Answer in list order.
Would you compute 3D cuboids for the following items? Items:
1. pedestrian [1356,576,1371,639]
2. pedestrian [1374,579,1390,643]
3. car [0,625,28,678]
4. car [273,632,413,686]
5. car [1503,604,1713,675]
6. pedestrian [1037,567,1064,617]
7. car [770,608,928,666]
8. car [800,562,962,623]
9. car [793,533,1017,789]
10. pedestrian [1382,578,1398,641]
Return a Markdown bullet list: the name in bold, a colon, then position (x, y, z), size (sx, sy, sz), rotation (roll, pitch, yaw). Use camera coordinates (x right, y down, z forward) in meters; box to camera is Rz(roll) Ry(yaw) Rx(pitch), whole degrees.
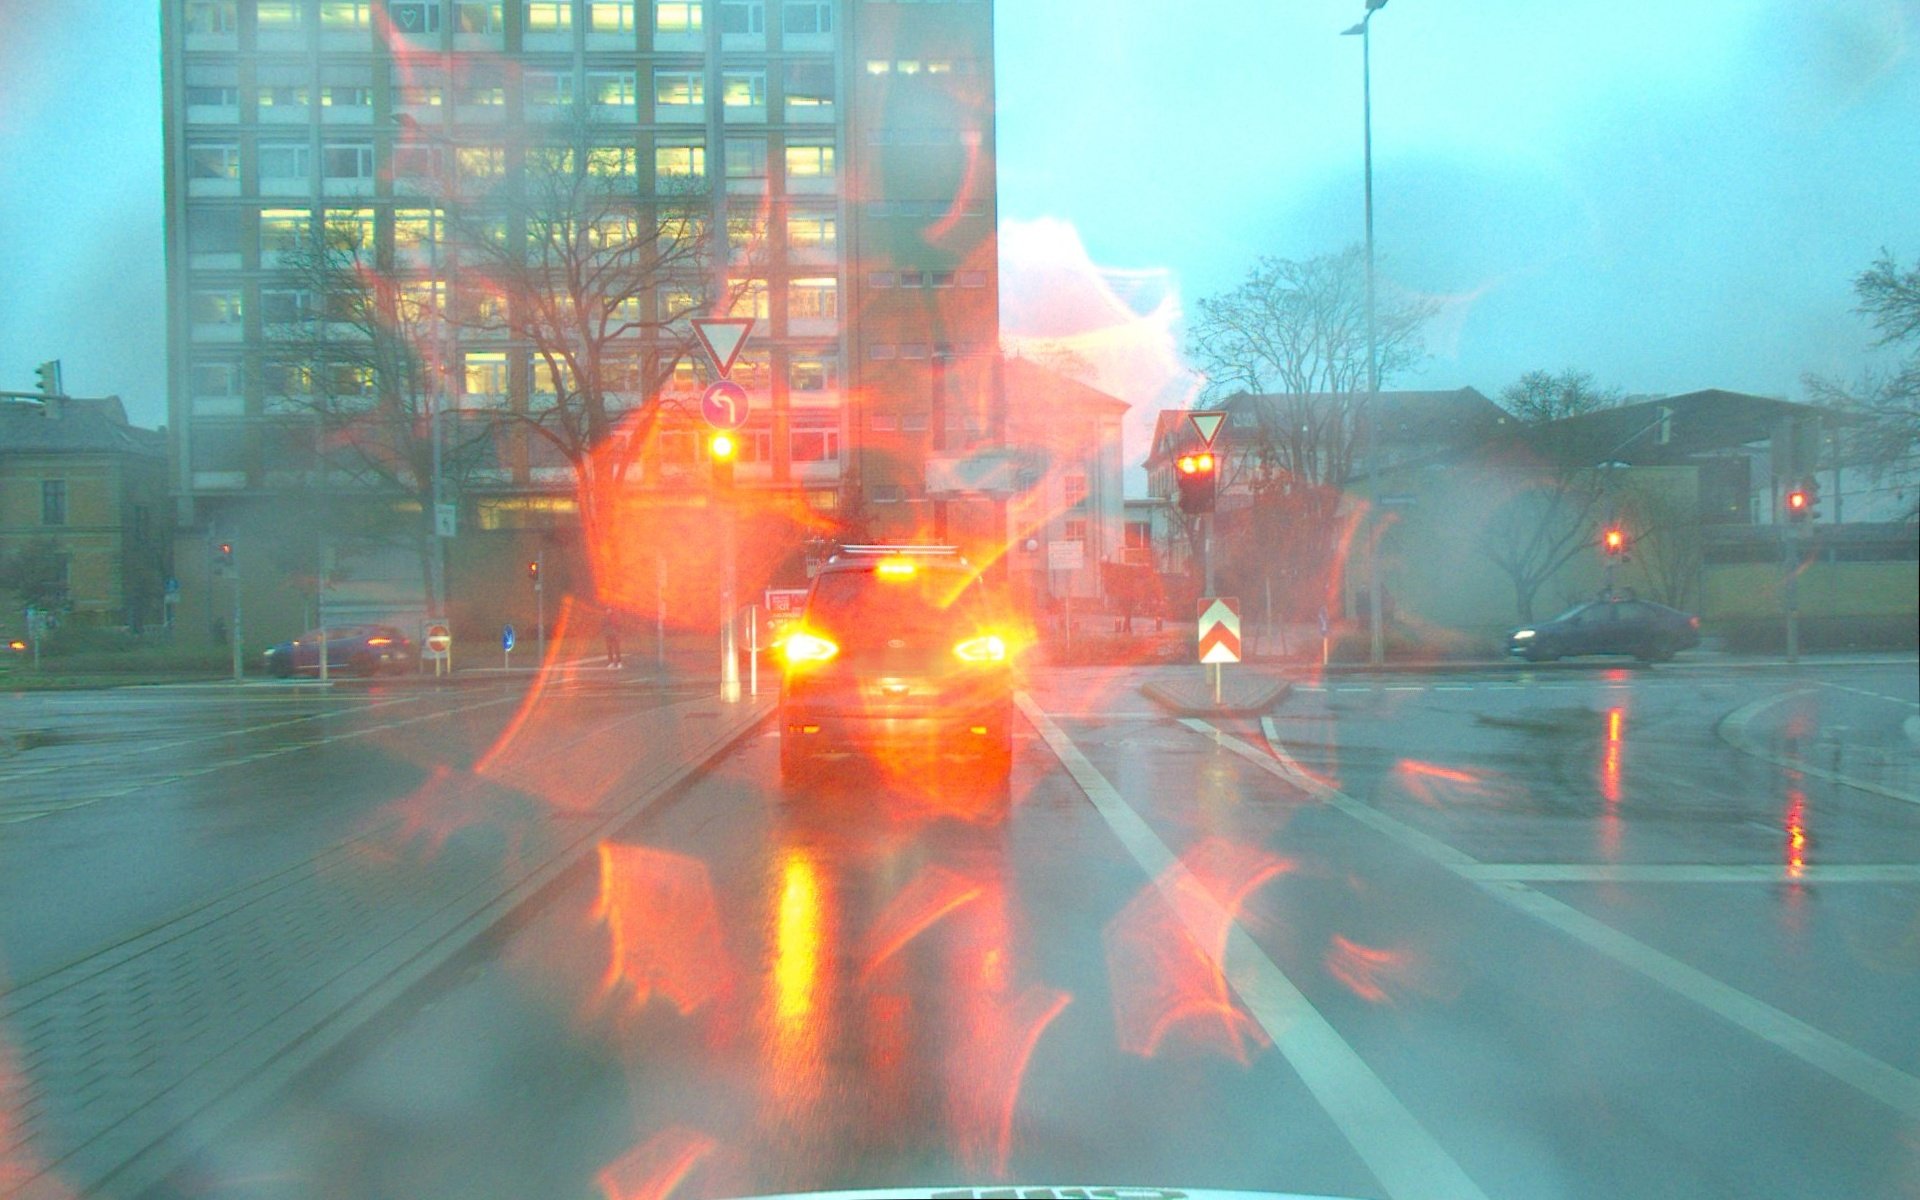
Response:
- **pedestrian**: position (12.091, 0.223, 49.586), size (0.428, 1.871, 0.460), rotation (0, -2, 17)
- **pedestrian**: position (12.380, 0.325, 48.478), size (0.448, 1.871, 0.439), rotation (0, -2, 16)
- **car**: position (-29.253, 1.477, 48.050), size (3.832, 1.512, 1.470), rotation (0, -2, 14)
- **car**: position (-16.855, 1.586, 45.204), size (3.338, 1.423, 1.470), rotation (0, -1, 14)
- **car**: position (15.166, 0.925, 38.946), size (4.338, 1.608, 1.969), rotation (0, -2, 12)
- **pedestrian**: position (3.109, -0.257, 56.735), size (0.677, 1.690, 0.670), rotation (1, -2, -30)
- **car**: position (-2.798, 0.932, 41.964), size (3.708, 1.423, 1.566), rotation (0, -2, 11)
- **car**: position (-2.741, -0.260, 57.976), size (5.430, 2.060, 2.001), rotation (0, -2, 5)
- **car**: position (-0.436, 0.424, 14.006), size (1.614, 1.850, 3.999), rotation (0, 1, -1)
- **pedestrian**: position (12.854, 0.284, 49.424), size (0.428, 1.871, 0.460), rotation (0, -2, 17)
